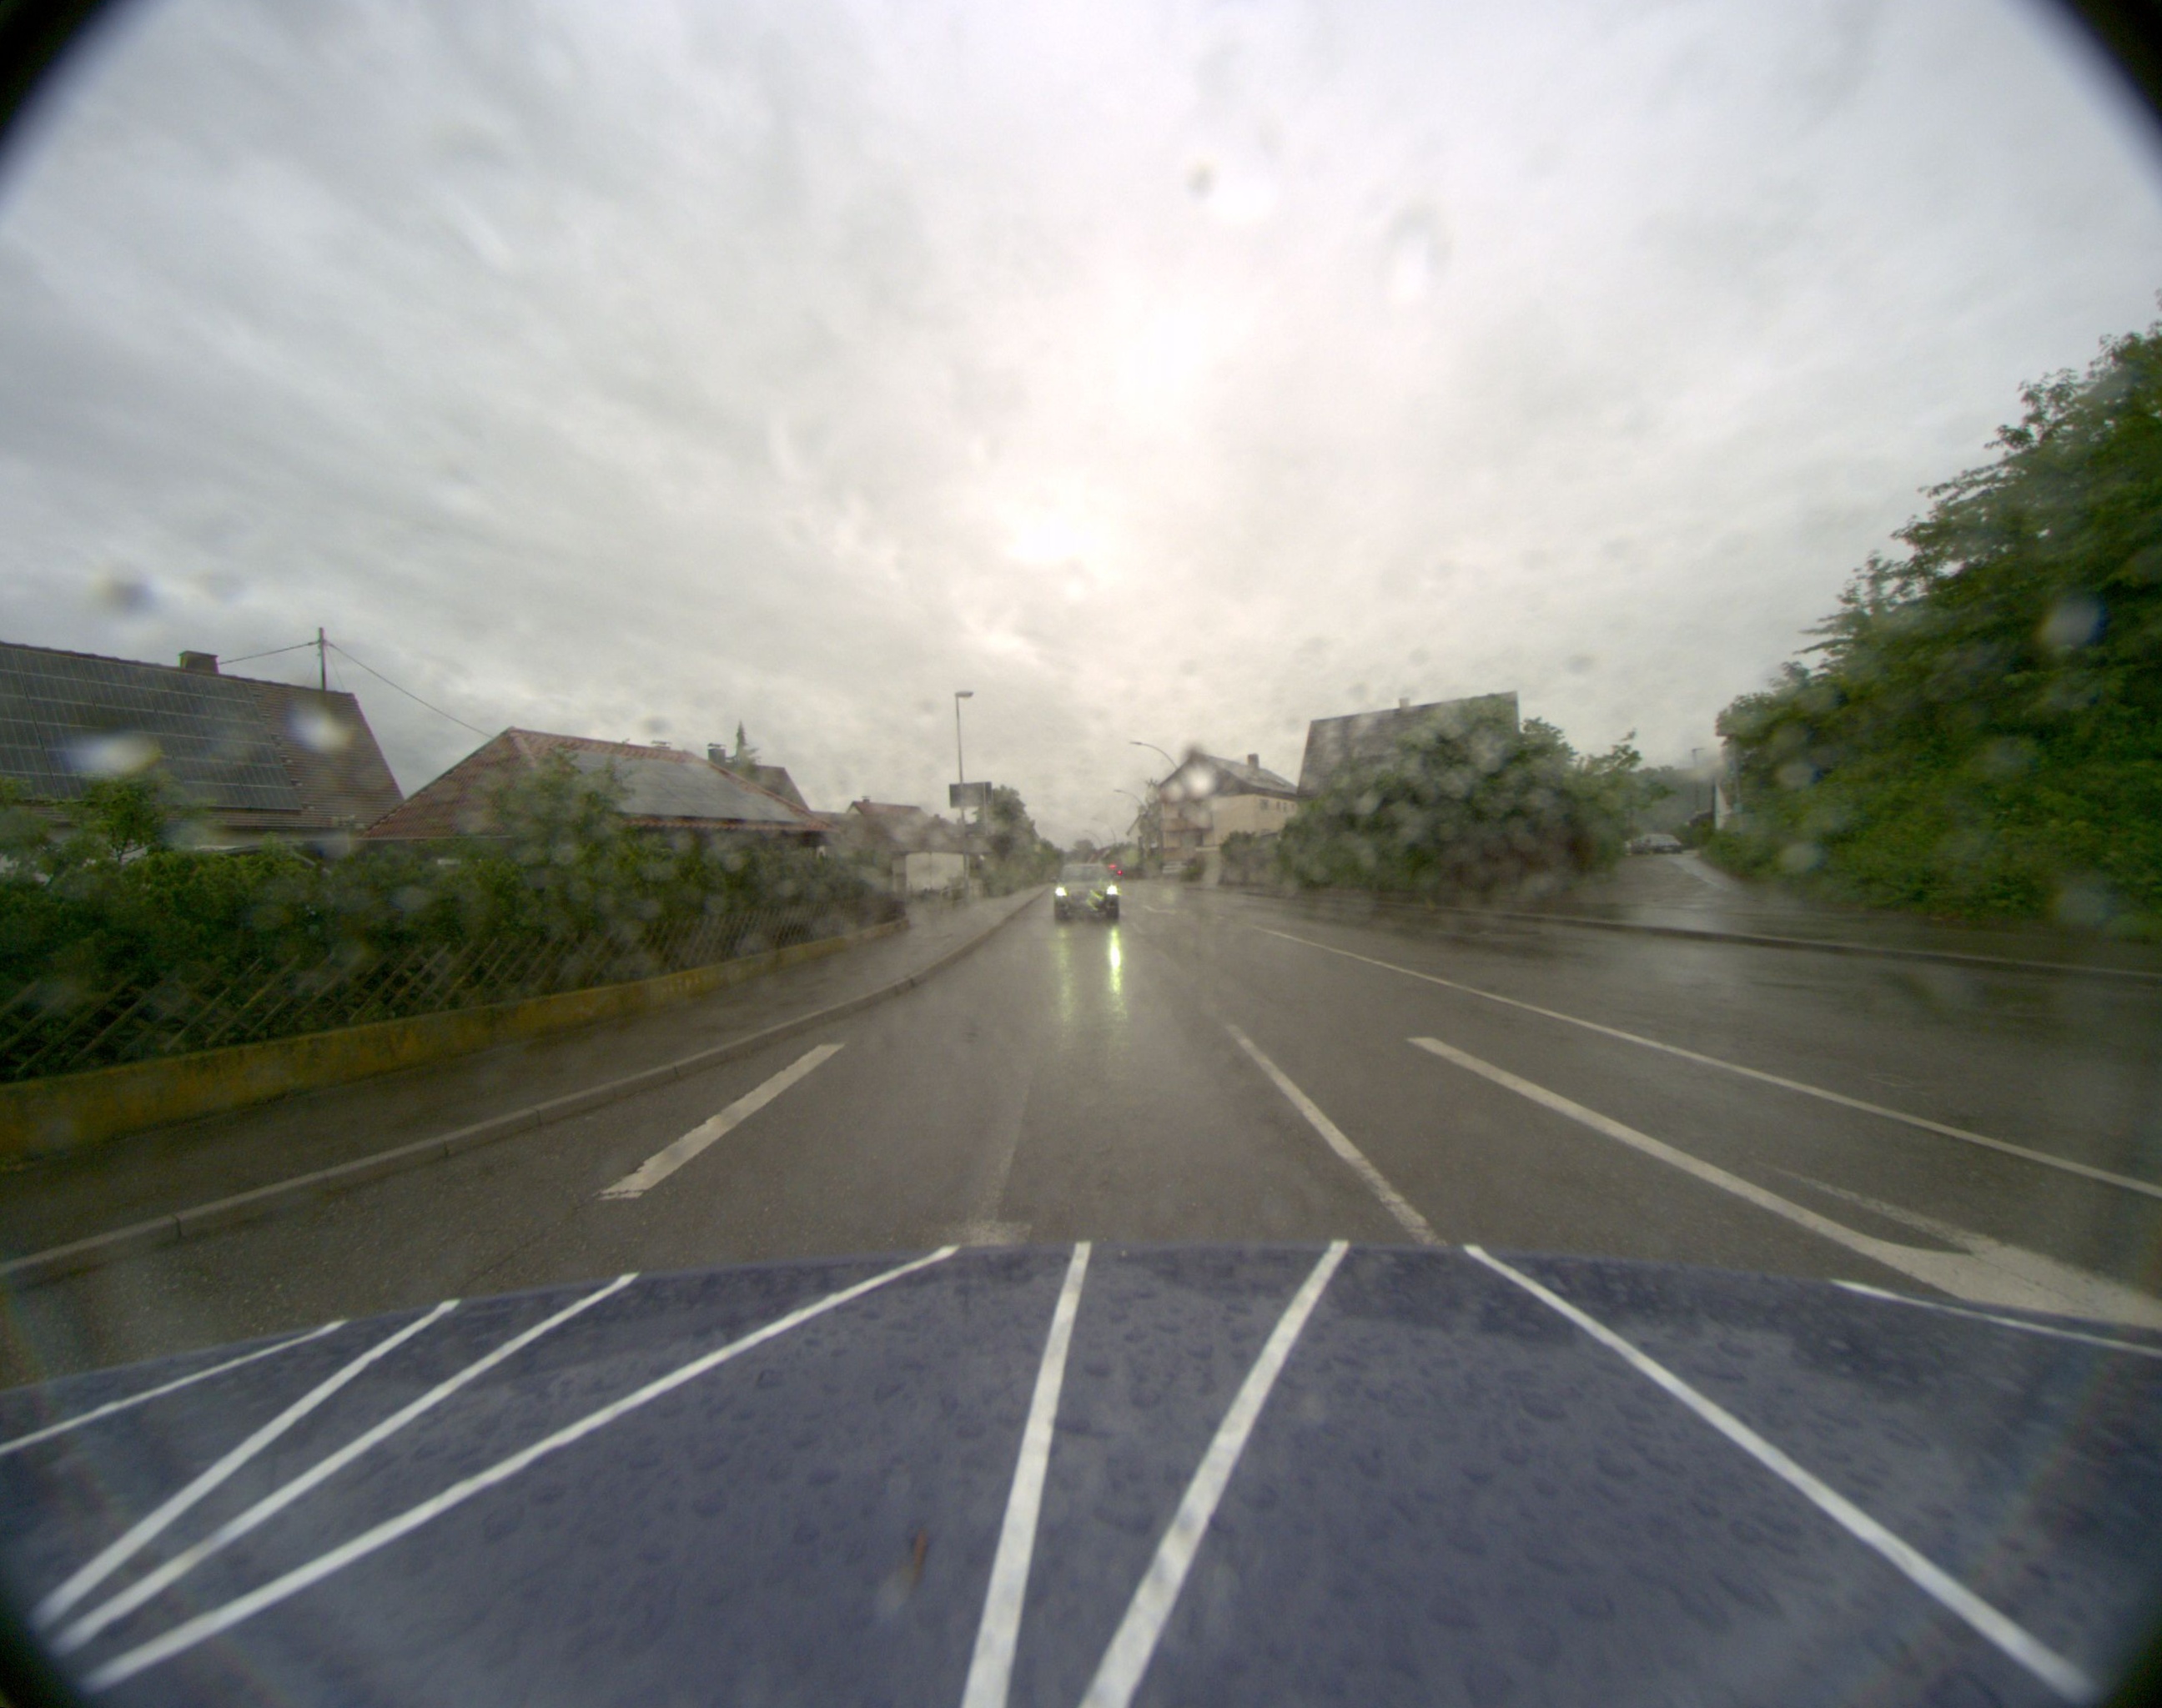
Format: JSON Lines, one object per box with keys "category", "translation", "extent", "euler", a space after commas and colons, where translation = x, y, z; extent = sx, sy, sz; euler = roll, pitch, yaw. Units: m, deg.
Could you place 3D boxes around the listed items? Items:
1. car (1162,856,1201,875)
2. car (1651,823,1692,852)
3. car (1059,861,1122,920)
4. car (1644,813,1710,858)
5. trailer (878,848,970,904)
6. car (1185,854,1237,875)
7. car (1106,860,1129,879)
{"category": "car", "translation": [8.892, 1.021, 67.042], "extent": [1.864, 1.510, 4.007], "euler": [-3, 0, 32]}
{"category": "car", "translation": [41.120, -1.180, 52.865], "extent": [1.995, 1.848, 4.008], "euler": [-3, 0, 41]}
{"category": "car", "translation": [0.249, 1.023, 22.837], "extent": [1.688, 1.486, 3.939], "euler": [-3, 0, 0]}
{"category": "car", "translation": [22.962, -0.720, 29.224], "extent": [1.706, 1.579, 3.669], "euler": [-2, 0, 42]}
{"category": "trailer", "translation": [-7.582, 1.018, 37.211], "extent": [1.645, 2.502, 4.712], "euler": [-3, 0, 28]}
{"category": "car", "translation": [10.515, 0.820, 61.349], "extent": [3.661, 1.510, 1.758], "euler": [-3, 0, 35]}
{"category": "car", "translation": [3.438, 1.415, 72.125], "extent": [1.998, 1.658, 4.416], "euler": [-3, 0, 1]}
